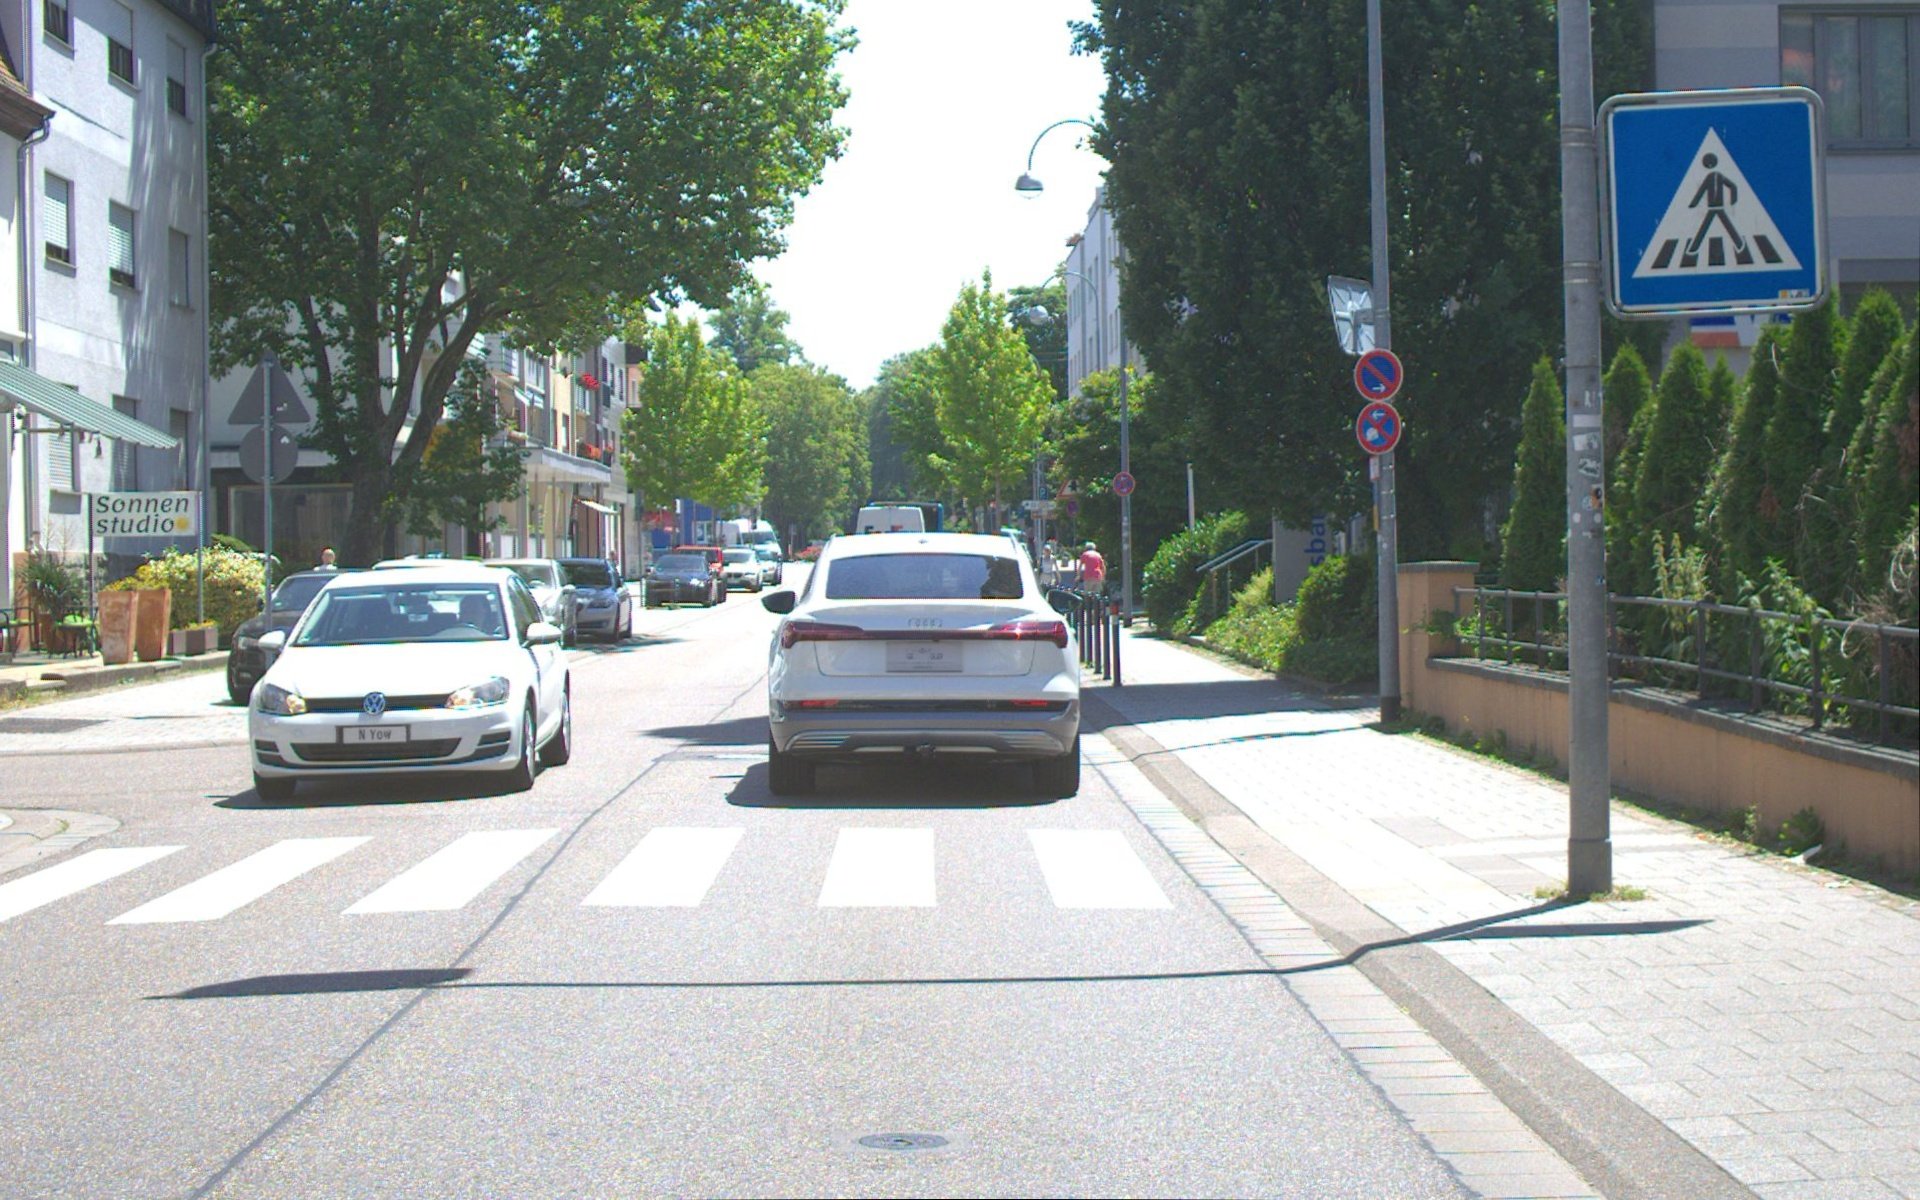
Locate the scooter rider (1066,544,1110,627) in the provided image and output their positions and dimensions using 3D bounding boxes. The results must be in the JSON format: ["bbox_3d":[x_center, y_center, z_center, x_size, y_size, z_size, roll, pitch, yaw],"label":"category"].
[{"bbox_3d":[2.433,-0.285,65.259,0.716,1.543,0.770,-2,1,-3],"label":"scooter rider"}]

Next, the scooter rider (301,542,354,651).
[{"bbox_3d":[-9.284,-0.064,50.484,0.588,1.570,0.877,1,1,0],"label":"scooter rider"}]

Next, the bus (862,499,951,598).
[{"bbox_3d":[-1.778,-1.738,116.959,2.661,3.210,7.301,1,1,2],"label":"bus"}]

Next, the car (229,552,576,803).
[{"bbox_3d":[-3.656,0.453,23.154,1.807,1.477,3.870,-2,1,-3],"label":"car"}]

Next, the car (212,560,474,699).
[{"bbox_3d":[-6.605,0.265,37.340,1.942,1.369,5.098,0,1,0],"label":"car"}]

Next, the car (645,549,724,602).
[{"bbox_3d":[-7.681,-0.707,96.094,1.896,1.412,5.048,1,1,-1],"label":"car"}]

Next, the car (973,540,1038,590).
[{"bbox_3d":[1.379,-1.068,103.341,1.896,1.433,4.544,-1,1,1],"label":"car"}]

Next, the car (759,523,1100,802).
[{"bbox_3d":[-0.251,0.335,22.258,1.993,1.627,4.000,1,1,-2],"label":"car"}]

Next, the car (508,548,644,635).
[{"bbox_3d":[-6.764,-0.185,61.026,1.981,1.447,5.151,0,1,-2],"label":"car"}]

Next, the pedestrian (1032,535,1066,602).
[{"bbox_3d":[2.215,-0.779,85.556,0.700,1.621,0.784,-4,1,-2],"label":"pedestrian"}]

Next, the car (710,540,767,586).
[{"bbox_3d":[-8.106,-1.372,125.874,1.752,1.612,4.401,1,1,0],"label":"car"}]

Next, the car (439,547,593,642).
[{"bbox_3d":[-7.066,-0.121,55.128,1.981,1.447,4.869,0,1,-2],"label":"car"}]

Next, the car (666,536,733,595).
[{"bbox_3d":[-7.742,-1.036,102.565,1.752,1.696,4.102,1,1,-1],"label":"car"}]

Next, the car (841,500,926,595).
[{"bbox_3d":[-2.019,-1.393,91.864,2.156,2.433,5.284,1,1,-1],"label":"car"}]

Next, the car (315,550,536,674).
[{"bbox_3d":[-6.666,0.107,43.408,1.981,1.447,5.358,0,1,0],"label":"car"}]
